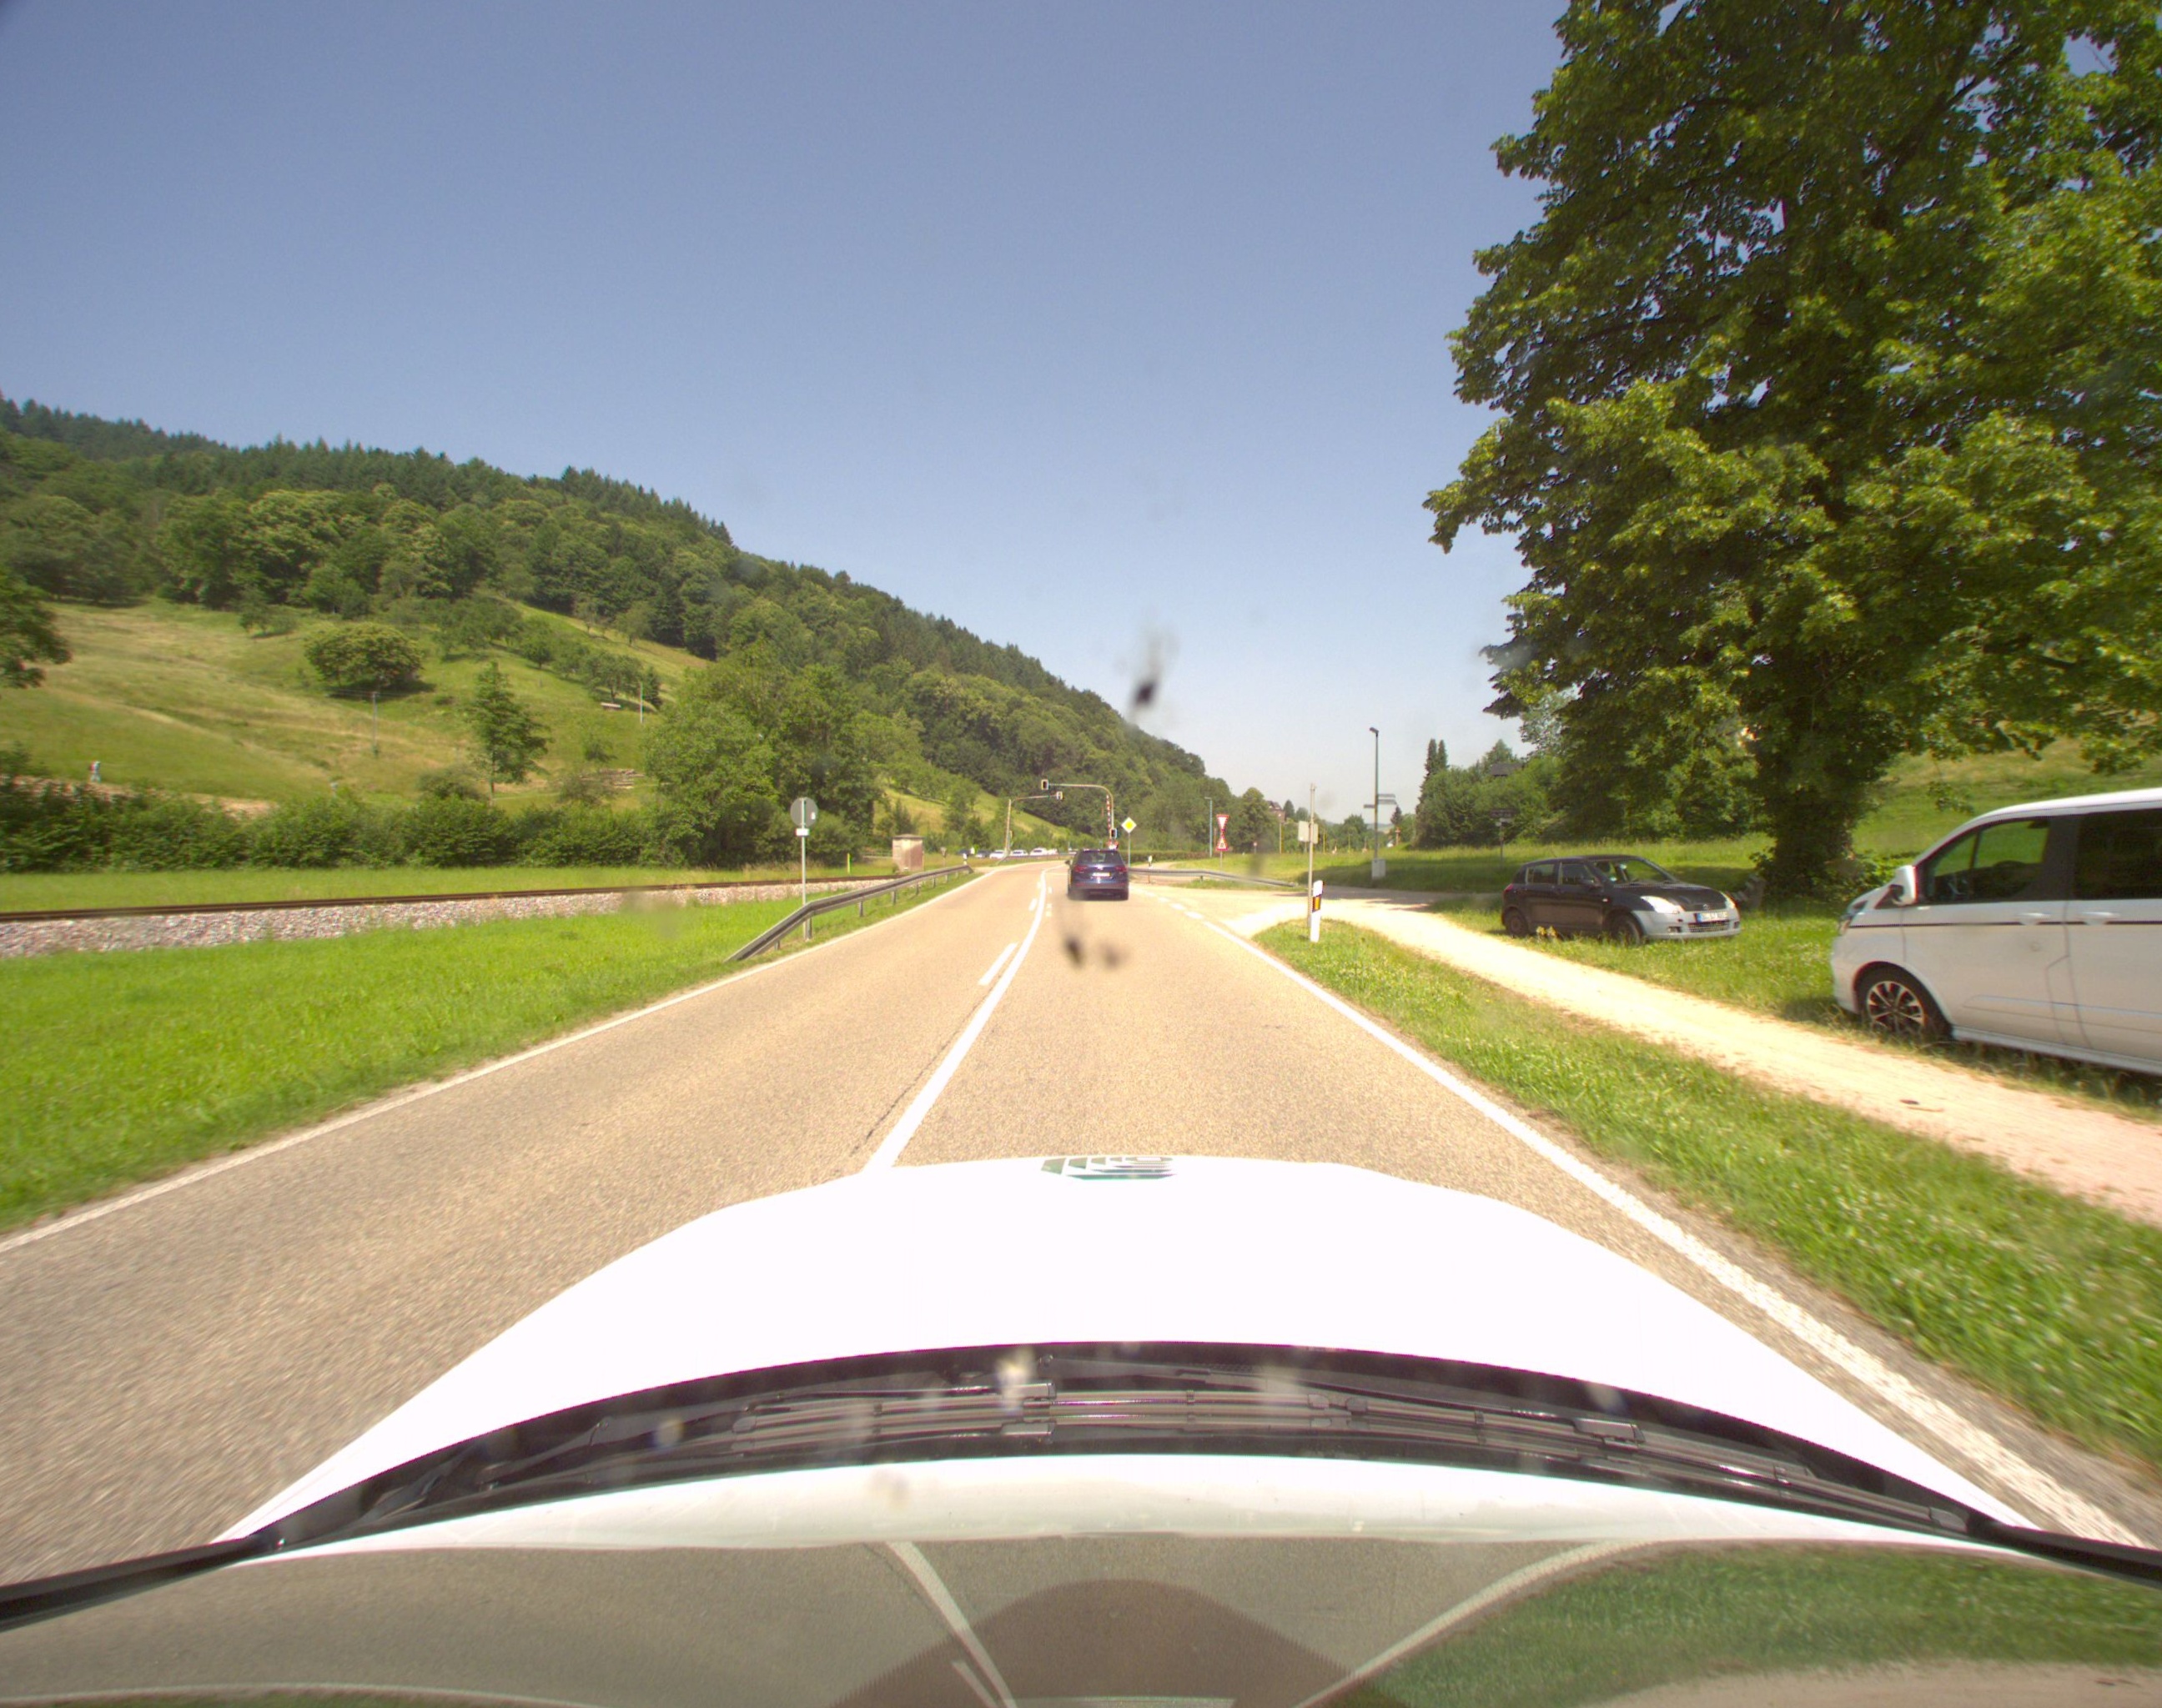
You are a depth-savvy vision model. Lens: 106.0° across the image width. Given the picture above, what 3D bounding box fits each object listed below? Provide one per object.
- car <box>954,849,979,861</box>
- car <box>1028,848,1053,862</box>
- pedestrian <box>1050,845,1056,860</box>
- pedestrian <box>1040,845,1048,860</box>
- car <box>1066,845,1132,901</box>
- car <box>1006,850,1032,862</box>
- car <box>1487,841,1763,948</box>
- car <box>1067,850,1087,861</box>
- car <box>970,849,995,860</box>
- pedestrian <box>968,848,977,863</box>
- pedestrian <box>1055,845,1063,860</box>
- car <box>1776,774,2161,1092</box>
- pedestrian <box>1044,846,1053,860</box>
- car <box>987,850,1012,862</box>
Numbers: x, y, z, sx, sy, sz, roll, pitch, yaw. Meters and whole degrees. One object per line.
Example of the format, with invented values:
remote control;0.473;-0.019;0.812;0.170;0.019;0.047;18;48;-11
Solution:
car;-15.857;0.151;112.522;1.980;1.500;4.536;-1;0;12
car;-5.494;0.143;110.903;1.856;1.782;4.793;0;0;17
pedestrian;-3.484;-0.200;103.001;0.657;1.955;0.533;-1;0;4
pedestrian;-4.716;-0.159;102.861;0.781;1.842;0.702;-1;0;24
car;0.502;0.587;26.604;1.848;1.649;4.135;-1;0;-3
car;-8.385;0.245;110.913;1.979;1.641;4.920;-1;0;14
car;8.763;0.618;13.542;1.674;1.457;3.702;-2;-1;-10
car;-0.493;0.185;108.212;1.814;1.500;4.291;-1;0;11
car;-13.467;0.063;111.824;1.980;1.500;4.536;1;0;12
pedestrian;-14.097;0.199;105.439;0.949;1.794;1.002;-1;-1;6
pedestrian;-2.843;-0.197;103.554;0.775;1.859;0.641;-1;-1;-43
car;7.334;0.401;5.032;1.991;1.848;4.873;-5;0;3
pedestrian;-4.170;-0.116;103.608;0.761;1.796;0.799;-1;-1;40
car;-11.079;0.277;111.049;1.980;1.500;4.536;-1;0;12
